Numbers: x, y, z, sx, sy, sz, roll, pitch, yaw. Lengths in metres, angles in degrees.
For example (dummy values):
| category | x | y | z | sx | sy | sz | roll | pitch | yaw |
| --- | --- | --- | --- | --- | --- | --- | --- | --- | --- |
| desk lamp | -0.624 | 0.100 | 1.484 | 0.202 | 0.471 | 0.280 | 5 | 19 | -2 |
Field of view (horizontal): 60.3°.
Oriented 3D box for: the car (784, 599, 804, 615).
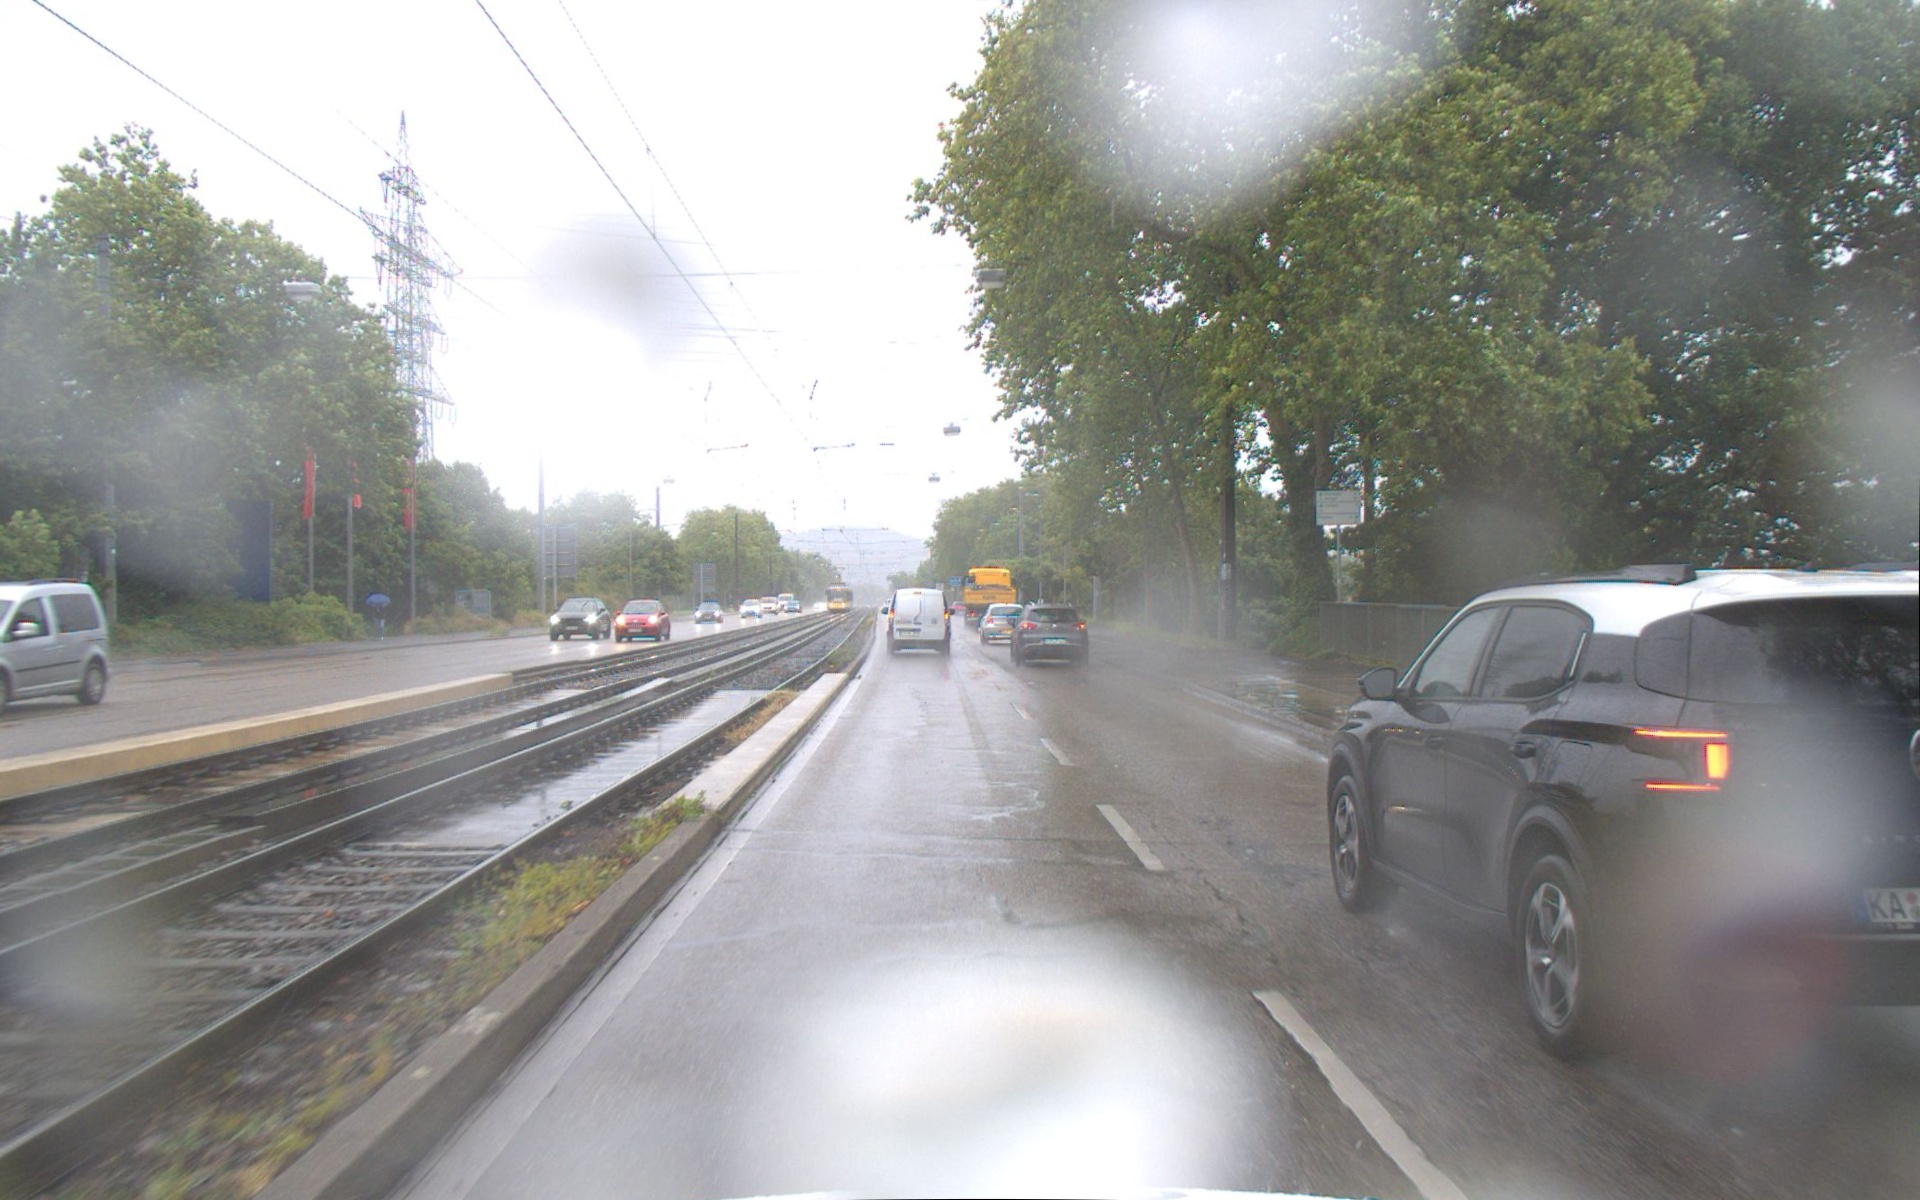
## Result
| category | x | y | z | sx | sy | sz | roll | pitch | yaw |
| --- | --- | --- | --- | --- | --- | --- | --- | --- | --- |
| car | -19.758 | 0.835 | 197.398 | 1.953 | 1.937 | 4.000 | 1 | 0 | 0 |

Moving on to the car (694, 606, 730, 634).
| category | x | y | z | sx | sy | sz | roll | pitch | yaw |
| --- | --- | --- | --- | --- | --- | --- | --- | --- | --- |
| car | -17.900 | 1.411 | 119.690 | 1.953 | 1.937 | 4.000 | 1 | 0 | 0 |

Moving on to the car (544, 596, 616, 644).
| category | x | y | z | sx | sy | sz | roll | pitch | yaw |
| --- | --- | --- | --- | --- | --- | --- | --- | --- | --- |
| car | -15.200 | 0.793 | 66.408 | 1.953 | 1.847 | 4.000 | 0 | 0 | 0 |

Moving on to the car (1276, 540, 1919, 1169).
| category | x | y | z | sx | sy | sz | roll | pitch | yaw |
| --- | --- | --- | --- | --- | --- | --- | --- | --- | --- |
| car | 2.825 | 0.678 | 6.992 | 1.861 | 1.746 | 4.723 | 1 | 1 | -3 |

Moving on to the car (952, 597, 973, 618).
| category | x | y | z | sx | sy | sz | roll | pitch | yaw |
| --- | --- | --- | --- | --- | --- | --- | --- | --- | --- |
| car | 0.230 | 0.678 | 153.252 | 1.953 | 1.937 | 4.000 | 1 | 0 | 0 |

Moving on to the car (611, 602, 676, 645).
| category | x | y | z | sx | sy | sz | roll | pitch | yaw |
| --- | --- | --- | --- | --- | --- | --- | --- | --- | --- |
| car | -11.793 | 0.845 | 61.778 | 1.623 | 1.512 | 4.013 | 0 | 0 | 0 |

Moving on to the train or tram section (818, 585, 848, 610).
| category | x | y | z | sx | sy | sz | roll | pitch | yaw |
| --- | --- | --- | --- | --- | --- | --- | --- | --- | --- |
| train or tram section | -15.735 | -0.308 | 205.815 | 2.792 | 2.944 | 14.004 | -1 | 0 | -1 |

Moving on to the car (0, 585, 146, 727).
| category | x | y | z | sx | sy | sz | roll | pitch | yaw |
| --- | --- | --- | --- | --- | --- | --- | --- | --- | --- |
| car | -13.534 | 0.735 | 23.281 | 1.953 | 1.847 | 4.657 | 0 | 0 | -2 |

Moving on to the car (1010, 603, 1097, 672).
| category | x | y | z | sx | sy | sz | roll | pitch | yaw |
| --- | --- | --- | --- | --- | --- | --- | --- | --- | --- |
| car | 2.143 | 0.838 | 38.898 | 1.781 | 1.438 | 3.778 | 1 | 1 | -1 |

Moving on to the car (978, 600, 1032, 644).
| category | x | y | z | sx | sy | sz | roll | pitch | yaw |
| --- | --- | --- | --- | --- | --- | --- | --- | --- | --- |
| car | 1.578 | 0.770 | 59.045 | 1.781 | 1.438 | 3.778 | 1 | 1 | -1 |

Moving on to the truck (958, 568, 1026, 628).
| category | x | y | z | sx | sy | sz | roll | pitch | yaw |
| --- | --- | --- | --- | --- | --- | --- | --- | --- | --- |
| truck | 1.498 | -0.119 | 81.236 | 3.050 | 2.821 | 6.327 | 0 | 0 | -1 |

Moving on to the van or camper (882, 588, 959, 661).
| category | x | y | z | sx | sy | sz | roll | pitch | yaw |
| --- | --- | --- | --- | --- | --- | --- | --- | --- | --- |
| van or camper | -1.137 | 0.623 | 45.680 | 1.954 | 1.815 | 3.998 | 1 | 1 | -4 |

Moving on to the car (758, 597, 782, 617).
| category | x | y | z | sx | sy | sz | roll | pitch | yaw |
| --- | --- | --- | --- | --- | --- | --- | --- | --- | --- |
| car | -19.712 | 0.721 | 171.575 | 1.953 | 1.937 | 4.000 | 1 | 0 | 0 |
